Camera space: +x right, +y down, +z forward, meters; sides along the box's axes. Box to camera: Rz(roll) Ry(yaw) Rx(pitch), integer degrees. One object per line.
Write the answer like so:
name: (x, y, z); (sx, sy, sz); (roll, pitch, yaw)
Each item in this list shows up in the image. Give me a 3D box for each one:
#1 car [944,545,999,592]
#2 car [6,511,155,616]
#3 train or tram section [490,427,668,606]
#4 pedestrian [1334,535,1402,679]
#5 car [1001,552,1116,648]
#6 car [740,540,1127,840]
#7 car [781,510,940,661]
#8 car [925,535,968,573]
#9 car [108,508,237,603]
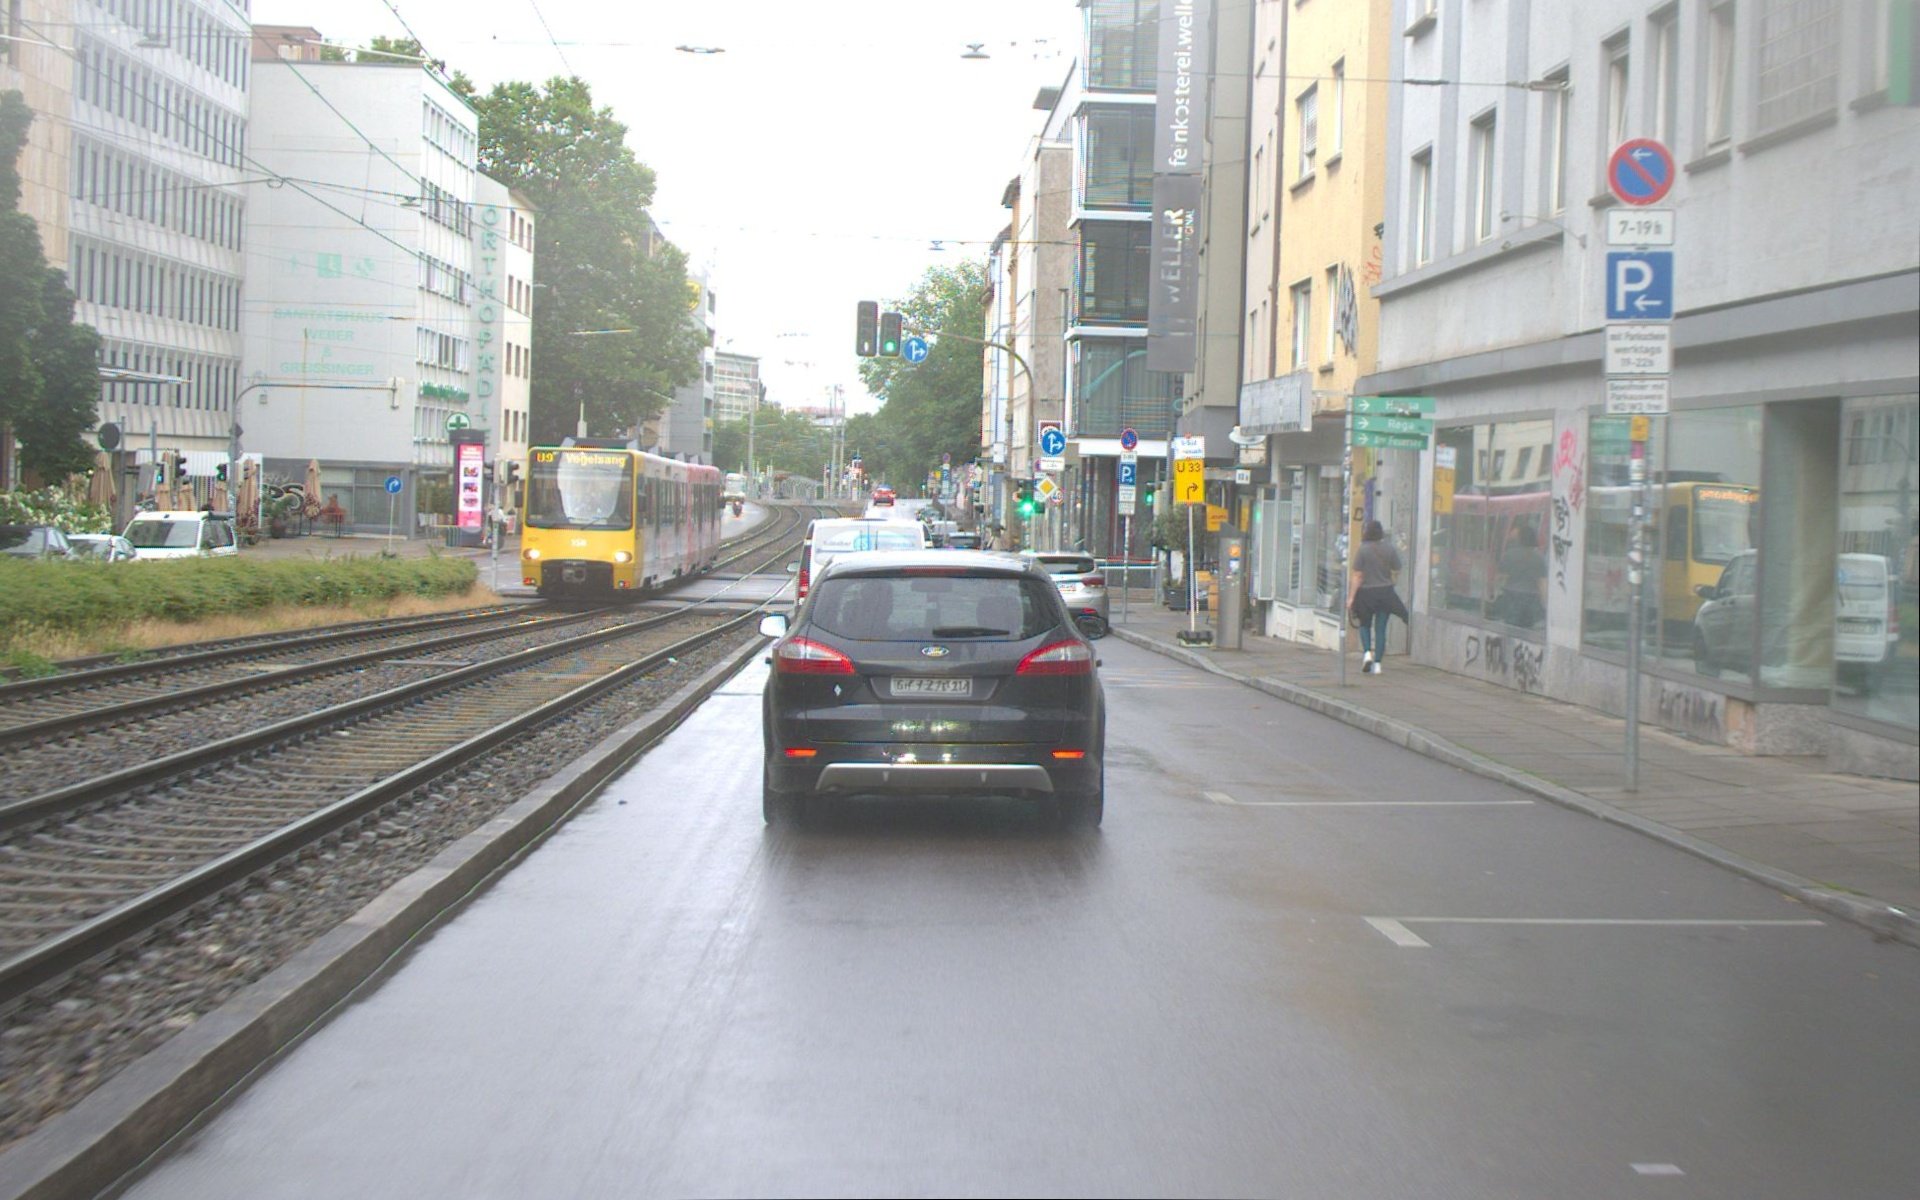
car: (0.388, -1.139, 124.385); (1.906, 1.628, 4.574); (1, 0, 0)
car: (-16.478, -0.672, 64.620); (1.906, 1.858, 4.574); (1, 0, -4)
train or tram section: (-8.642, -1.871, 79.303); (3.512, 3.764, 11.333); (1, 1, -4)
pedestrian: (4.423, 0.069, 37.292); (0.611, 1.532, 0.649); (1, 1, -2)
car: (1.753, -0.004, 62.411); (1.906, 1.628, 4.574); (1, 0, 0)
car: (-0.155, 0.444, 18.955); (1.906, 1.457, 3.445); (1, 0, -1)
car: (-1.278, -0.192, 45.800); (1.906, 1.858, 4.574); (1, 0, 0)
car: (-0.611, -2.067, 156.071); (1.906, 1.628, 4.574); (1, 0, 0)
car: (-16.313, -0.909, 71.445); (1.906, 1.858, 4.574); (1, 0, -4)
